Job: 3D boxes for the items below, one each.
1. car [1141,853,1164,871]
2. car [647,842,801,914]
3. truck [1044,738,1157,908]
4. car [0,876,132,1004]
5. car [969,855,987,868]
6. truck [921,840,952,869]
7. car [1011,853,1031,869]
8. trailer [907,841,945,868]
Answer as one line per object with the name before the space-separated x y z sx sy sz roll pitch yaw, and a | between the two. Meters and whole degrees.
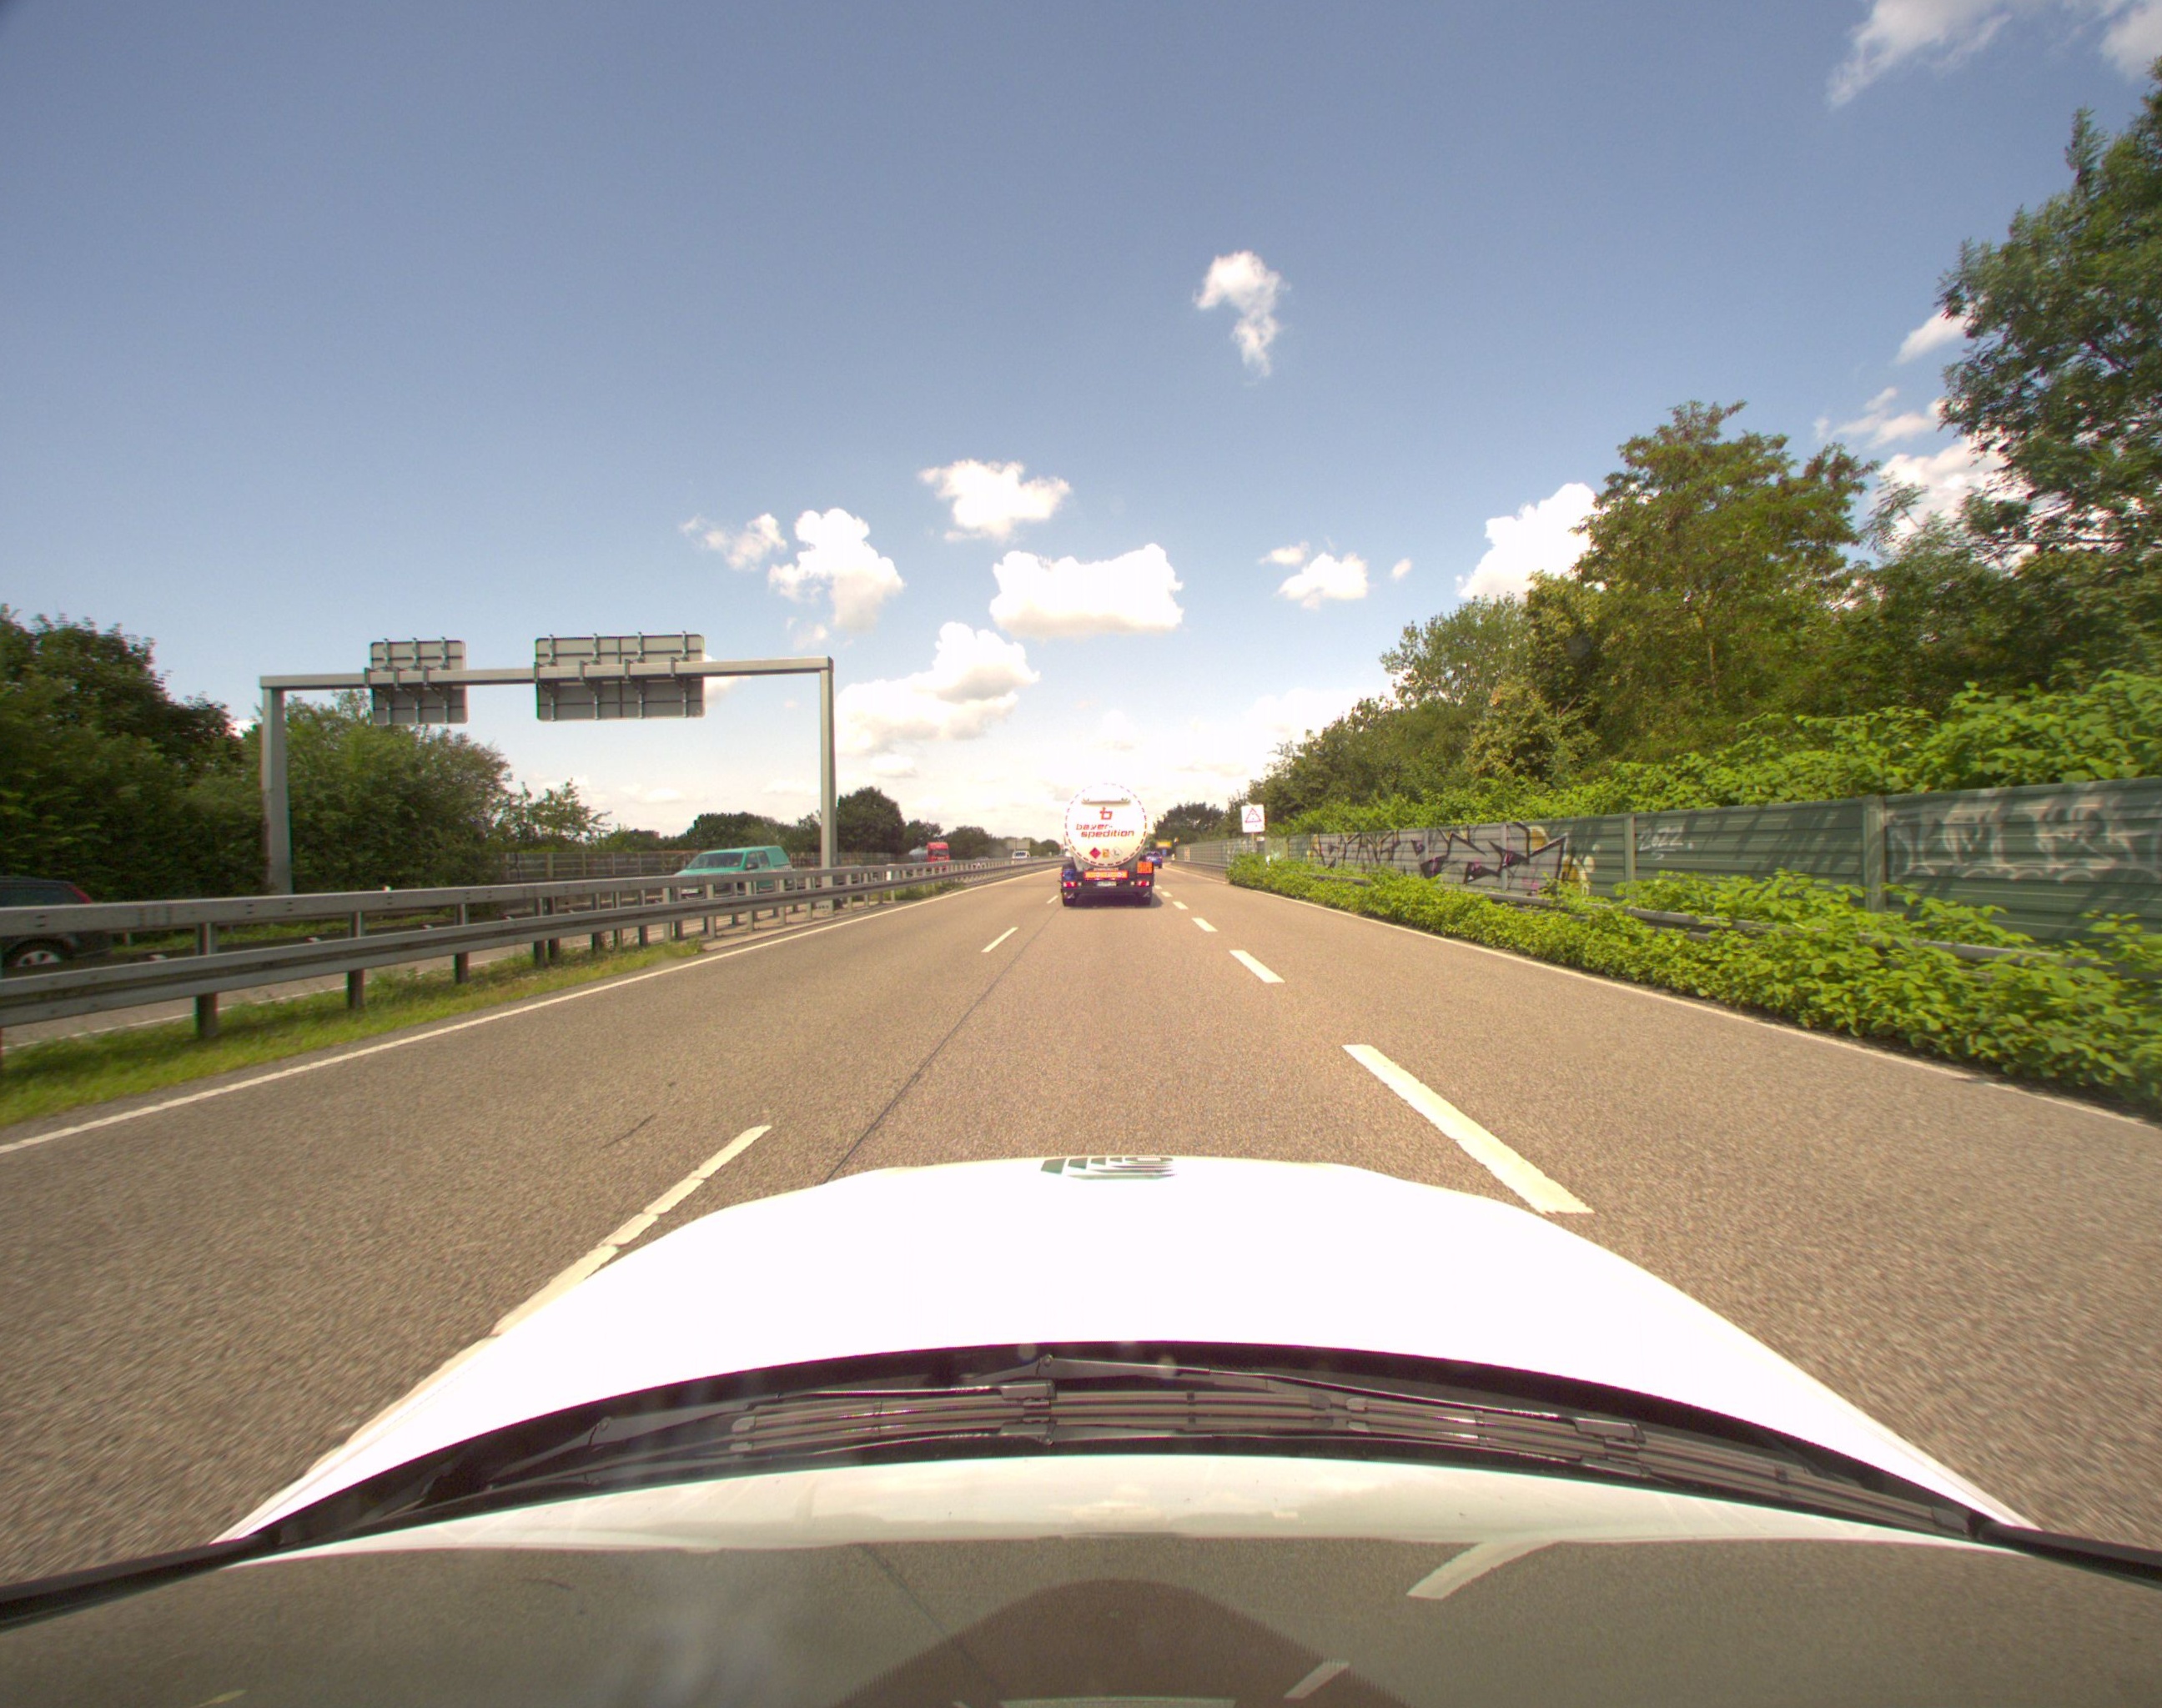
car | 6.885 0.776 78.567 1.986 1.706 4.002 0 0 2
car | -10.176 0.628 23.805 1.986 1.863 5.394 0 0 2
truck | 0.656 -0.770 24.967 2.884 4.369 8.033 0 0 2
car | -14.491 1.097 9.367 1.695 1.575 4.558 0 0 2
car | -12.230 0.897 96.906 1.683 1.431 4.402 0 0 0
truck | -19.331 0.052 108.451 2.660 3.782 6.182 0 0 -24
car | -7.534 0.870 102.493 2.073 1.989 5.228 0 0 0
trailer | -21.867 0.069 114.075 2.697 3.670 10.939 0 0 -24
